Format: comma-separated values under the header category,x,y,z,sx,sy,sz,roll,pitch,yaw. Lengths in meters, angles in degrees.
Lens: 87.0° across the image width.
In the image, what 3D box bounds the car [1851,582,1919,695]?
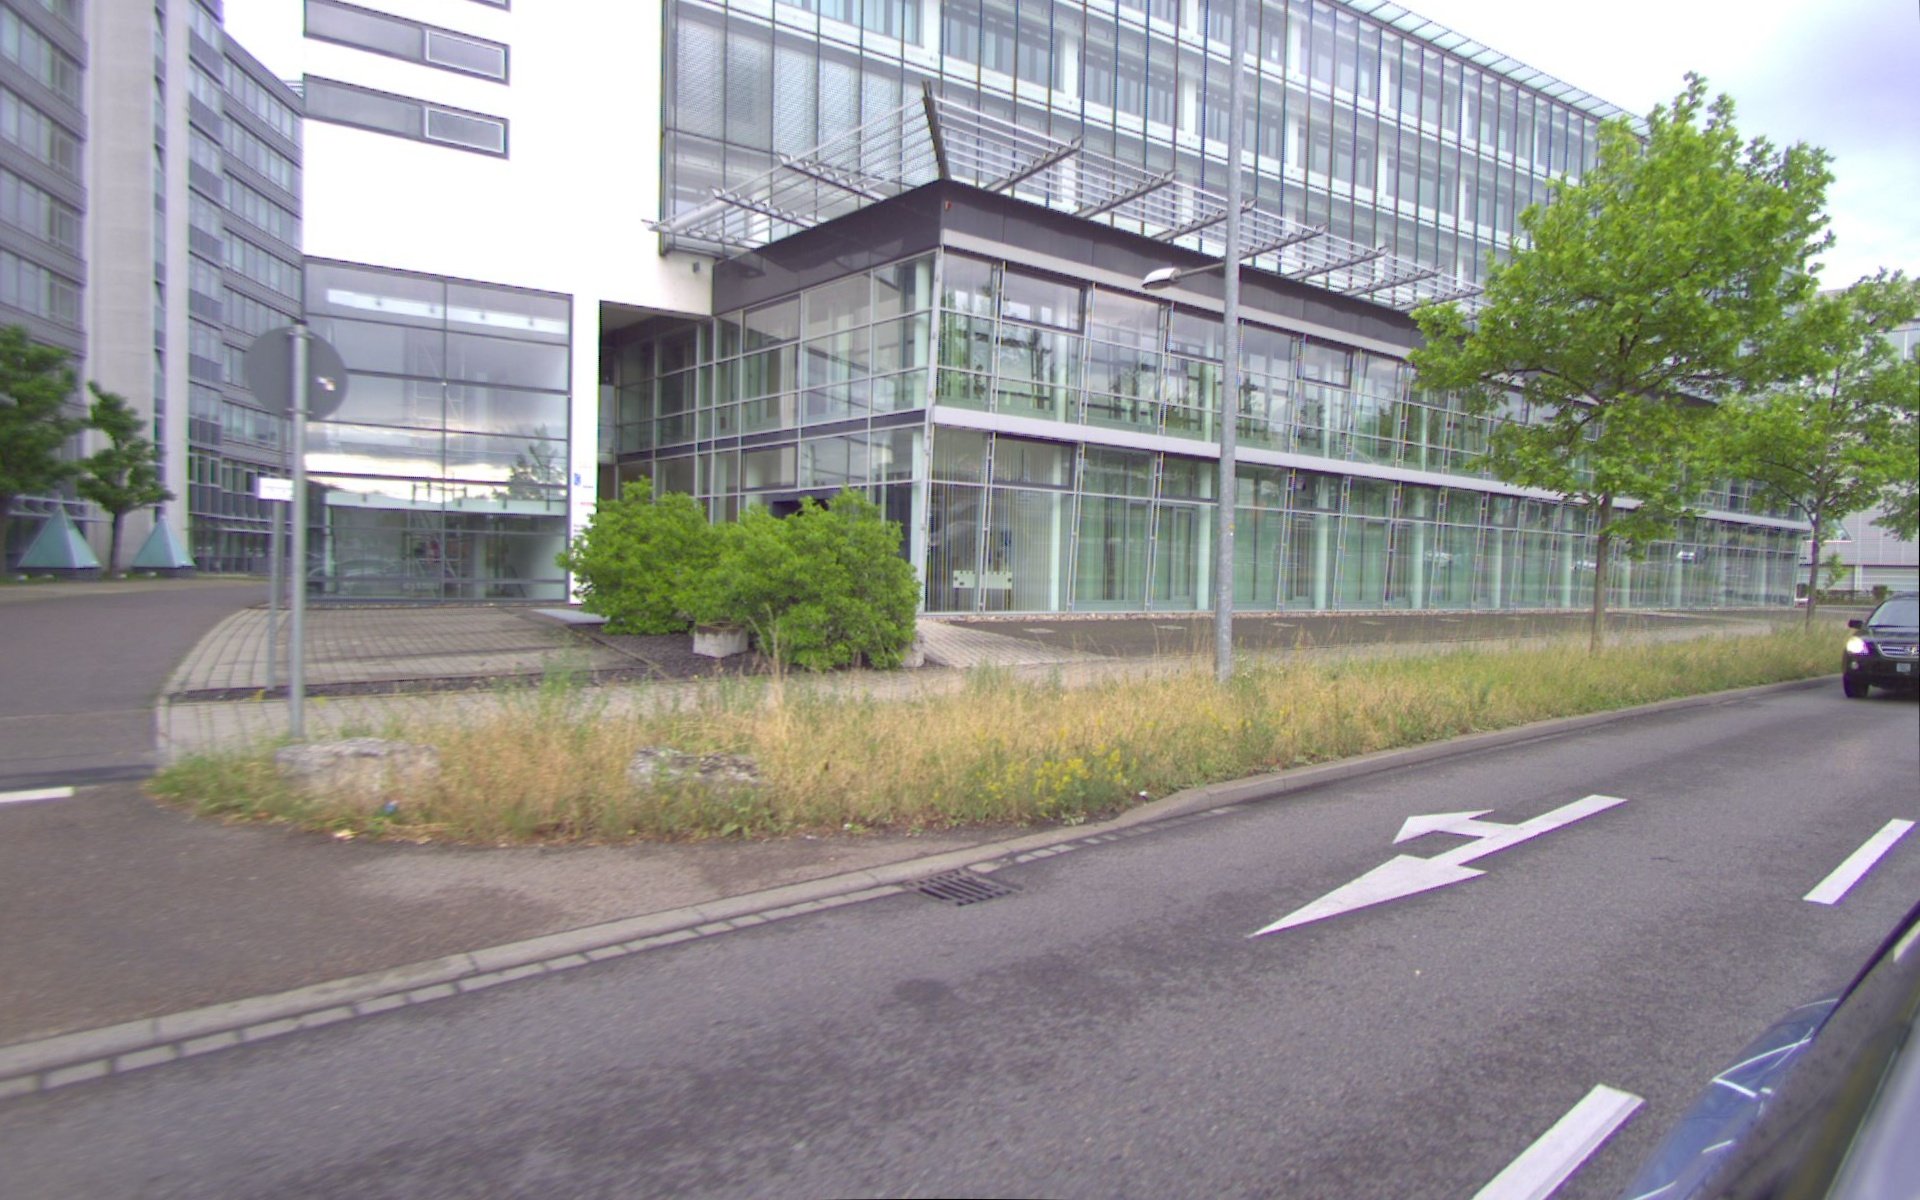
category,x,y,z,sx,sy,sz,roll,pitch,yaw
car,15.731,0.535,15.982,4.246,1.650,1.769,-1,0,-39
